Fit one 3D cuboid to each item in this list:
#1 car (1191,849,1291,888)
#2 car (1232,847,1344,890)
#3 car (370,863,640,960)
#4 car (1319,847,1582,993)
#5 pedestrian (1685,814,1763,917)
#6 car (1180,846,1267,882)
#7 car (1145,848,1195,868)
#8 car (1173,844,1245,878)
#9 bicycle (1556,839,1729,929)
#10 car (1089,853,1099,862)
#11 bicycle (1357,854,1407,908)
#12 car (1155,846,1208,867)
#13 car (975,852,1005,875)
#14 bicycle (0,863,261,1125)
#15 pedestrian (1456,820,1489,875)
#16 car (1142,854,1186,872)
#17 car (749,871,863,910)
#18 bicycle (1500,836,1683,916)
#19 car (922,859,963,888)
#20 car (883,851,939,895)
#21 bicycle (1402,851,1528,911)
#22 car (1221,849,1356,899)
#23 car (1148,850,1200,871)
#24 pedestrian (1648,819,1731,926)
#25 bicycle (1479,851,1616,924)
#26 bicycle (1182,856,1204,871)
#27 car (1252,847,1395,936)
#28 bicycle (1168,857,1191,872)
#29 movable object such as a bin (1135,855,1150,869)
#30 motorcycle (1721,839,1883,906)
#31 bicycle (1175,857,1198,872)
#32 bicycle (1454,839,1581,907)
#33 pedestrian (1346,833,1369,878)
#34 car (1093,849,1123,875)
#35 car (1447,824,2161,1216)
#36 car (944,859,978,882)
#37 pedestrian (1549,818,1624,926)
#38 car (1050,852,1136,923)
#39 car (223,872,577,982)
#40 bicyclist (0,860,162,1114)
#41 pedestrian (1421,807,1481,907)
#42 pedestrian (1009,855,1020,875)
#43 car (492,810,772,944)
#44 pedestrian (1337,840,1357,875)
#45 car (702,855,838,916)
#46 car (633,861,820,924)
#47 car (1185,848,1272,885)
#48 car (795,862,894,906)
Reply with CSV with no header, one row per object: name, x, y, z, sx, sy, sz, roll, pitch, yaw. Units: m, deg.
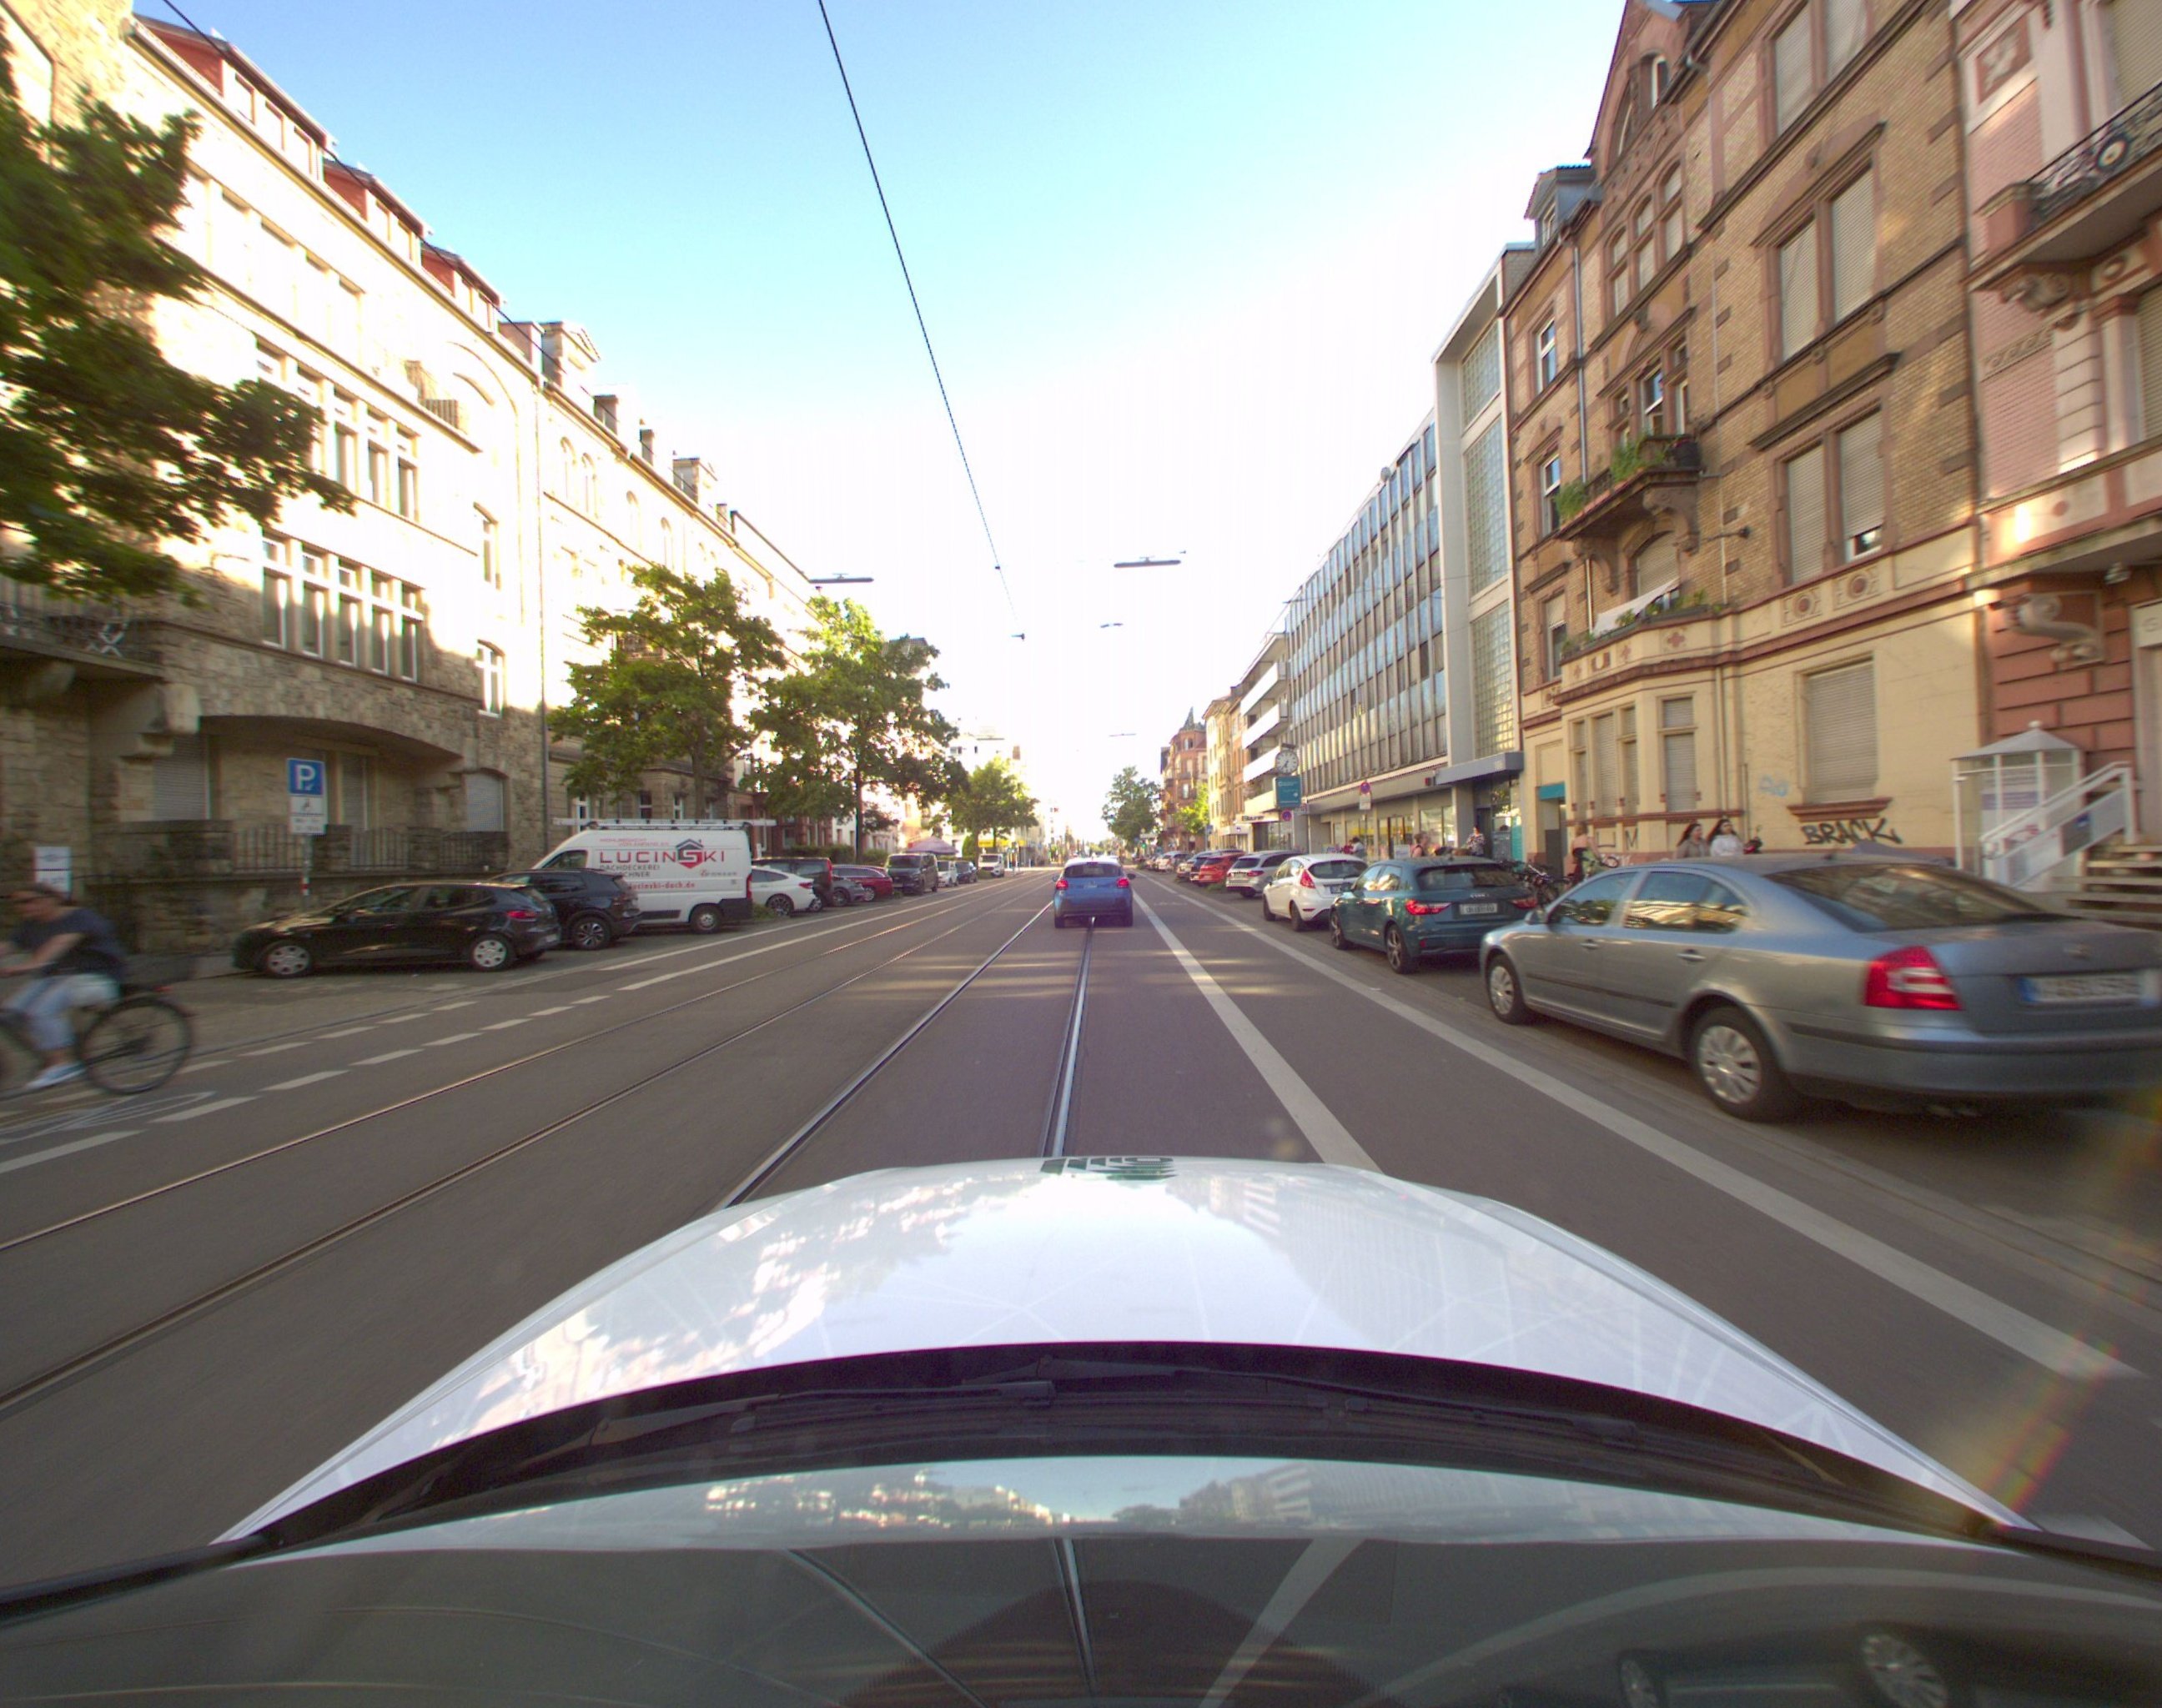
car,6.647,0.567,33.837,3.743,1.521,1.949,-1,-1,-32
car,7.657,0.503,30.090,3.796,1.487,1.822,-1,-1,-28
car,-10.940,1.025,15.841,4.005,1.618,1.699,-1,-1,-24
car,4.697,0.751,11.075,1.866,1.596,4.002,-1,-1,2
pedestrian,10.372,0.180,13.148,0.709,1.607,0.654,-1,-1,1
car,6.894,0.471,39.356,3.743,1.652,2.027,-1,-1,-32
car,7.453,0.355,68.215,3.664,1.574,1.849,-1,-1,-18
car,6.643,0.349,42.119,3.467,1.640,1.666,-1,-1,-35
bicycle,8.198,0.433,11.940,2.050,1.221,0.663,-2,-1,-1
car,2.098,0.529,131.267,1.417,1.432,3.140,-1,-1,2
bicycle,6.850,0.593,18.600,0.690,1.185,1.239,-1,-1,1
car,7.665,0.196,62.151,3.674,1.574,1.844,-1,-1,-27
car,-7.522,0.755,67.751,1.825,1.848,4.215,-1,-1,2
bicycle,-7.262,0.909,5.796,0.678,1.678,2.097,-1,-1,2
pedestrian,13.095,-0.216,27.271,0.717,1.806,0.727,-1,-1,1
car,7.612,0.825,74.809,3.664,1.534,1.778,-1,-1,-18
car,-9.986,1.279,29.572,3.815,1.265,1.504,-1,-1,-24
bicycle,8.242,0.351,13.222,2.529,1.221,0.664,-1,-1,1
car,-8.255,1.115,48.828,1.742,1.618,4.408,-1,-1,-1
car,-8.197,0.897,39.702,1.742,1.973,5.237,-1,-1,-1
bicycle,8.159,0.568,17.372,2.347,1.221,0.665,-1,-1,4
car,6.863,0.608,26.822,4.465,1.508,1.522,-1,-1,-28
car,7.453,0.496,65.333,3.664,1.574,1.849,-1,-1,-18
pedestrian,9.628,0.281,12.911,0.709,1.607,0.654,-4,-1,0
bicycle,8.212,0.576,14.391,2.012,1.221,0.664,-1,-1,1
bicycle,8.087,0.719,58.789,0.557,1.048,1.789,0,-1,-34
car,4.849,0.698,16.867,1.866,1.596,4.002,-1,-1,2
bicycle,7.037,0.738,58.073,0.557,1.048,1.789,0,-1,-34
movable object such as a bin,6.345,0.819,84.107,1.389,1.483,1.656,-1,-1,1
motorcycle,12.113,0.296,13.819,0.505,0.992,2.520,-5,-1,2
bicycle,7.575,0.732,58.419,0.557,1.048,1.789,0,-1,-34
bicycle,8.209,0.357,15.372,2.012,1.221,0.664,-1,-1,1
pedestrian,11.087,0.060,32.643,0.690,1.756,0.678,-1,-1,1
car,1.809,0.526,53.541,1.866,1.596,4.002,-1,-1,2
car,4.494,0.693,5.705,1.866,1.596,4.721,-1,-1,2
car,-7.935,1.078,54.232,1.742,1.487,4.039,-1,-1,-1
pedestrian,7.769,0.267,12.543,0.709,1.607,0.654,-1,-1,1
car,0.287,0.703,18.660,1.756,1.441,3.557,-1,-1,1
car,-10.777,1.093,13.252,3.994,1.489,1.797,-1,-1,-15
bicyclist,-7.253,0.890,5.781,0.632,1.681,0.727,-1,-1,1
pedestrian,6.314,0.053,13.937,0.709,1.671,0.654,-1,-1,1
pedestrian,-5.702,0.947,69.701,0.732,1.726,0.623,-1,-1,-23
car,-10.130,0.457,18.815,5.402,2.749,1.789,-1,-1,-29
pedestrian,12.067,0.153,36.943,0.690,1.588,0.678,-1,-1,1
car,-10.074,0.979,26.446,4.005,1.817,1.699,-1,-1,-24
car,-10.229,1.043,23.640,4.787,1.618,1.695,-1,-1,-31
car,6.615,0.531,36.453,3.463,1.555,1.806,-1,-1,-30
car,-9.540,1.188,32.828,3.736,1.622,1.777,-1,-1,-20
